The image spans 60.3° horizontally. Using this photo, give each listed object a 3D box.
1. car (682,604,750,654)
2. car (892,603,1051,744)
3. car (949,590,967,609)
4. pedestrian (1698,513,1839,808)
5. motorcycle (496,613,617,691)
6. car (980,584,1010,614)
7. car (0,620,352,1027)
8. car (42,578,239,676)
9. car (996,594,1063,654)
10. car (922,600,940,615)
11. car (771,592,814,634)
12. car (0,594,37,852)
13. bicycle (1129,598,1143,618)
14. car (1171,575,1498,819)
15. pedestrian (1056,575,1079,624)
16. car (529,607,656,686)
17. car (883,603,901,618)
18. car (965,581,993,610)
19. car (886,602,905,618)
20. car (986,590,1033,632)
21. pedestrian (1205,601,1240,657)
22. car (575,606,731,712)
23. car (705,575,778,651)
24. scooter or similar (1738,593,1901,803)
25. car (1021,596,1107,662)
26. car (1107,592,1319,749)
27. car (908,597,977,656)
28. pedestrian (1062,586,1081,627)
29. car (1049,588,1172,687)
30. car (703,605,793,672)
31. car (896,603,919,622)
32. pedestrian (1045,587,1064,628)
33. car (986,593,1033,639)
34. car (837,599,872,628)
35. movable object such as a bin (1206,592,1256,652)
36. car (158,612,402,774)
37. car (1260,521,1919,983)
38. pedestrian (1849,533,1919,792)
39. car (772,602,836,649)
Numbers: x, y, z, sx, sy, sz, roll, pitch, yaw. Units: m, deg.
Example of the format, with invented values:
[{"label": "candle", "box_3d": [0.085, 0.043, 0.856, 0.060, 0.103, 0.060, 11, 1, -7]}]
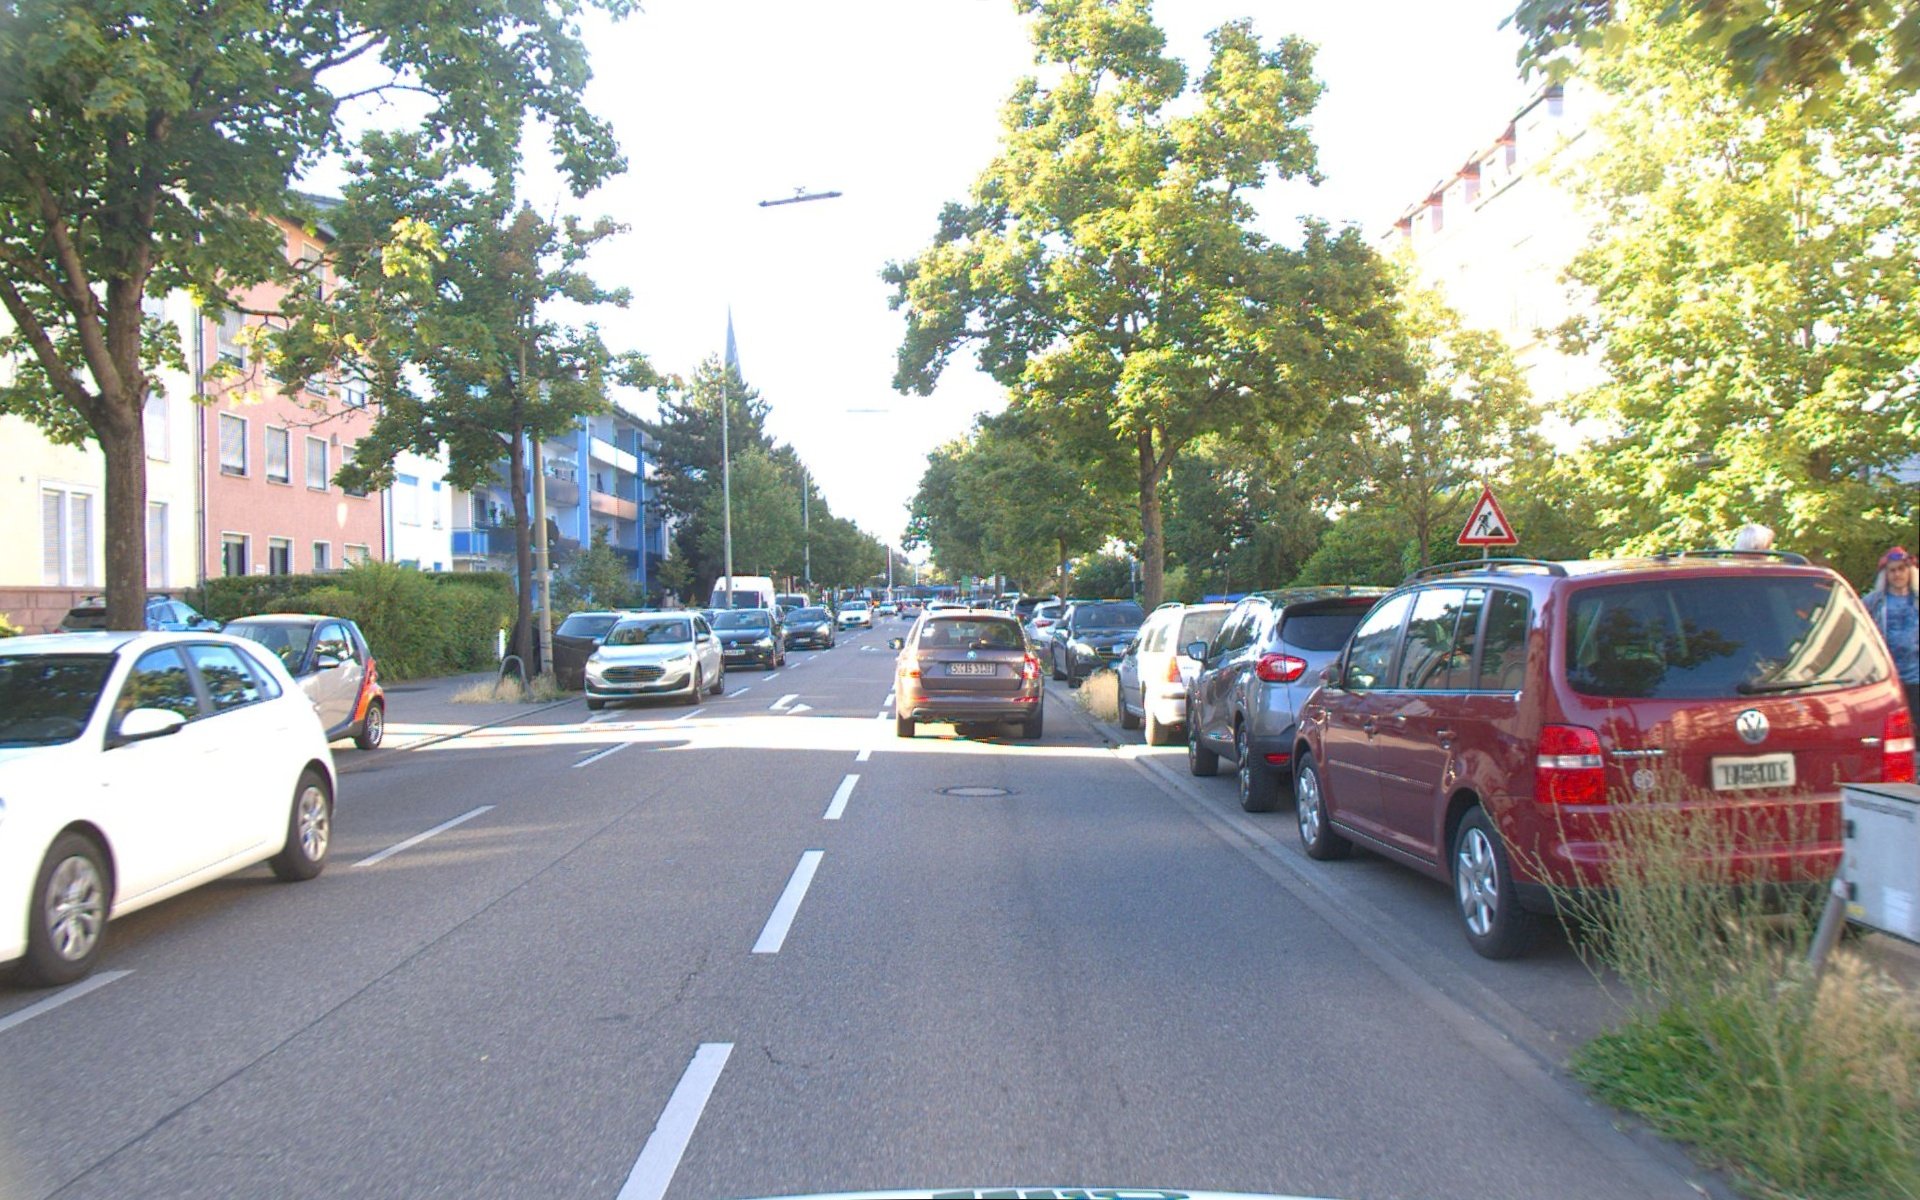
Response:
[{"label": "car", "box_3d": [-8.090, 0.936, 55.088, 1.672, 1.518, 4.058, 1, 0, -1]}, {"label": "car", "box_3d": [0.148, 0.801, 19.997, 1.718, 1.518, 4.000, 0, 0, 1]}, {"label": "car", "box_3d": [-0.239, -0.017, 162.195, 1.718, 1.837, 3.999, 0, 0, -1]}, {"label": "pedestrian", "box_3d": [5.382, 0.392, 11.041, 0.537, 1.881, 0.765, -2, 0, 6]}, {"label": "motorcycle", "box_3d": [-7.615, 0.980, 31.228, 2.002, 1.413, 0.979, 1, -2, -33]}, {"label": "car", "box_3d": [2.027, -0.046, 97.803, 1.718, 1.716, 4.252, 0, 0, 1]}, {"label": "car", "box_3d": [-4.559, 0.907, 7.984, 1.779, 1.471, 4.108, -4, 0, -2]}, {"label": "car", "box_3d": [-15.337, 0.491, 31.202, 1.790, 1.712, 3.999, -1, -1, -2]}, {"label": "car", "box_3d": [1.998, 0.668, 48.498, 1.683, 1.629, 4.095, -1, 0, -1]}, {"label": "car", "box_3d": [-3.250, 0.866, 185.948, 1.613, 1.627, 3.645, -1, 0, -6]}, {"label": "car", "box_3d": [-8.529, 0.625, 84.536, 1.831, 2.067, 5.299, 0, 0, -2]}, {"label": "car", "box_3d": [-7.430, 0.858, 9.419, 1.747, 1.763, 4.616, -1, 0, 0]}, {"label": "bicycle", "box_3d": [8.679, 0.373, 81.621, 0.465, 0.961, 1.680, -2, 0, -2]}, {"label": "car", "box_3d": [2.801, 0.658, 13.240, 1.603, 1.596, 3.999, -2, 0, -1]}, {"label": "pedestrian", "box_3d": [3.825, -0.020, 58.758, 0.771, 1.730, 0.808, -1, -1, 3]}, {"label": "car", "box_3d": [-7.717, 0.925, 35.147, 1.742, 1.531, 4.587, -1, 0, -1]}, {"label": "car", "box_3d": [-8.636, 1.318, 210.084, 1.955, 1.780, 3.995, -1, 0, -6]}, {"label": "car", "box_3d": [1.292, -0.312, 114.346, 1.877, 1.893, 5.633, -1, 0, 1]}, {"label": "car", "box_3d": [-6.623, 1.009, 169.638, 1.745, 1.520, 3.970, -3, 0, -1]}, {"label": "car", "box_3d": [2.215, 0.464, 75.032, 1.764, 1.840, 4.421, 0, 0, -3]}, {"label": "pedestrian", "box_3d": [5.989, 0.657, 37.726, 0.659, 1.256, 0.790, -1, -1, -1]}, {"label": "car", "box_3d": [-5.023, 0.917, 27.640, 1.795, 1.496, 4.450, -4, 0, -1]}, {"label": "car", "box_3d": [-8.024, 0.439, 61.393, 1.953, 2.662, 7.103, 0, 0, -2]}, {"label": "scooter or similar", "box_3d": [5.701, 0.634, 11.010, 0.730, 1.340, 0.721, -1, 0, 6]}, {"label": "car", "box_3d": [2.525, 0.684, 41.088, 1.684, 1.520, 4.392, -1, 0, -2]}, {"label": "car", "box_3d": [2.754, 0.710, 18.905, 1.603, 1.516, 4.414, -2, 0, -1]}, {"label": "car", "box_3d": [-0.535, 0.772, 47.569, 1.854, 1.533, 3.788, 2, -1, -1]}, {"label": "pedestrian", "box_3d": [5.270, 0.290, 78.165, 0.781, 1.893, 0.951, -2, 0, 10]}, {"label": "car", "box_3d": [2.719, 0.643, 30.853, 1.836, 1.608, 4.820, -2, 0, 0]}, {"label": "car", "box_3d": [-5.056, 0.880, 39.807, 1.666, 1.428, 4.026, -3, 0, -1]}, {"label": "car", "box_3d": [-4.239, 1.030, 133.542, 1.746, 1.506, 3.967, 0, 0, -4]}, {"label": "pedestrian", "box_3d": [4.476, 0.362, 78.510, 0.733, 1.893, 1.067, -2, 0, -2]}, {"label": "car", "box_3d": [1.947, 0.619, 65.841, 1.718, 1.691, 4.252, -2, 0, 1]}, {"label": "car", "box_3d": [-5.901, 0.730, 92.200, 1.842, 1.570, 4.263, -1, 0, -4]}, {"label": "movable object such as a bin", "box_3d": [7.302, 0.592, 44.638, 1.240, 1.518, 1.140, -3, 0, 9]}, {"label": "car", "box_3d": [-7.538, 0.976, 18.583, 1.468, 1.645, 2.862, -1, 0, 2]}, {"label": "car", "box_3d": [2.934, 0.556, 8.433, 1.688, 1.684, 4.594, -1, 0, -4]}, {"label": "pedestrian", "box_3d": [6.501, 0.413, 11.318, 0.500, 1.726, 0.526, -1, 0, -6]}, {"label": "car", "box_3d": [-5.384, 0.865, 57.699, 1.665, 1.496, 4.295, -2, 0, 1]}]
